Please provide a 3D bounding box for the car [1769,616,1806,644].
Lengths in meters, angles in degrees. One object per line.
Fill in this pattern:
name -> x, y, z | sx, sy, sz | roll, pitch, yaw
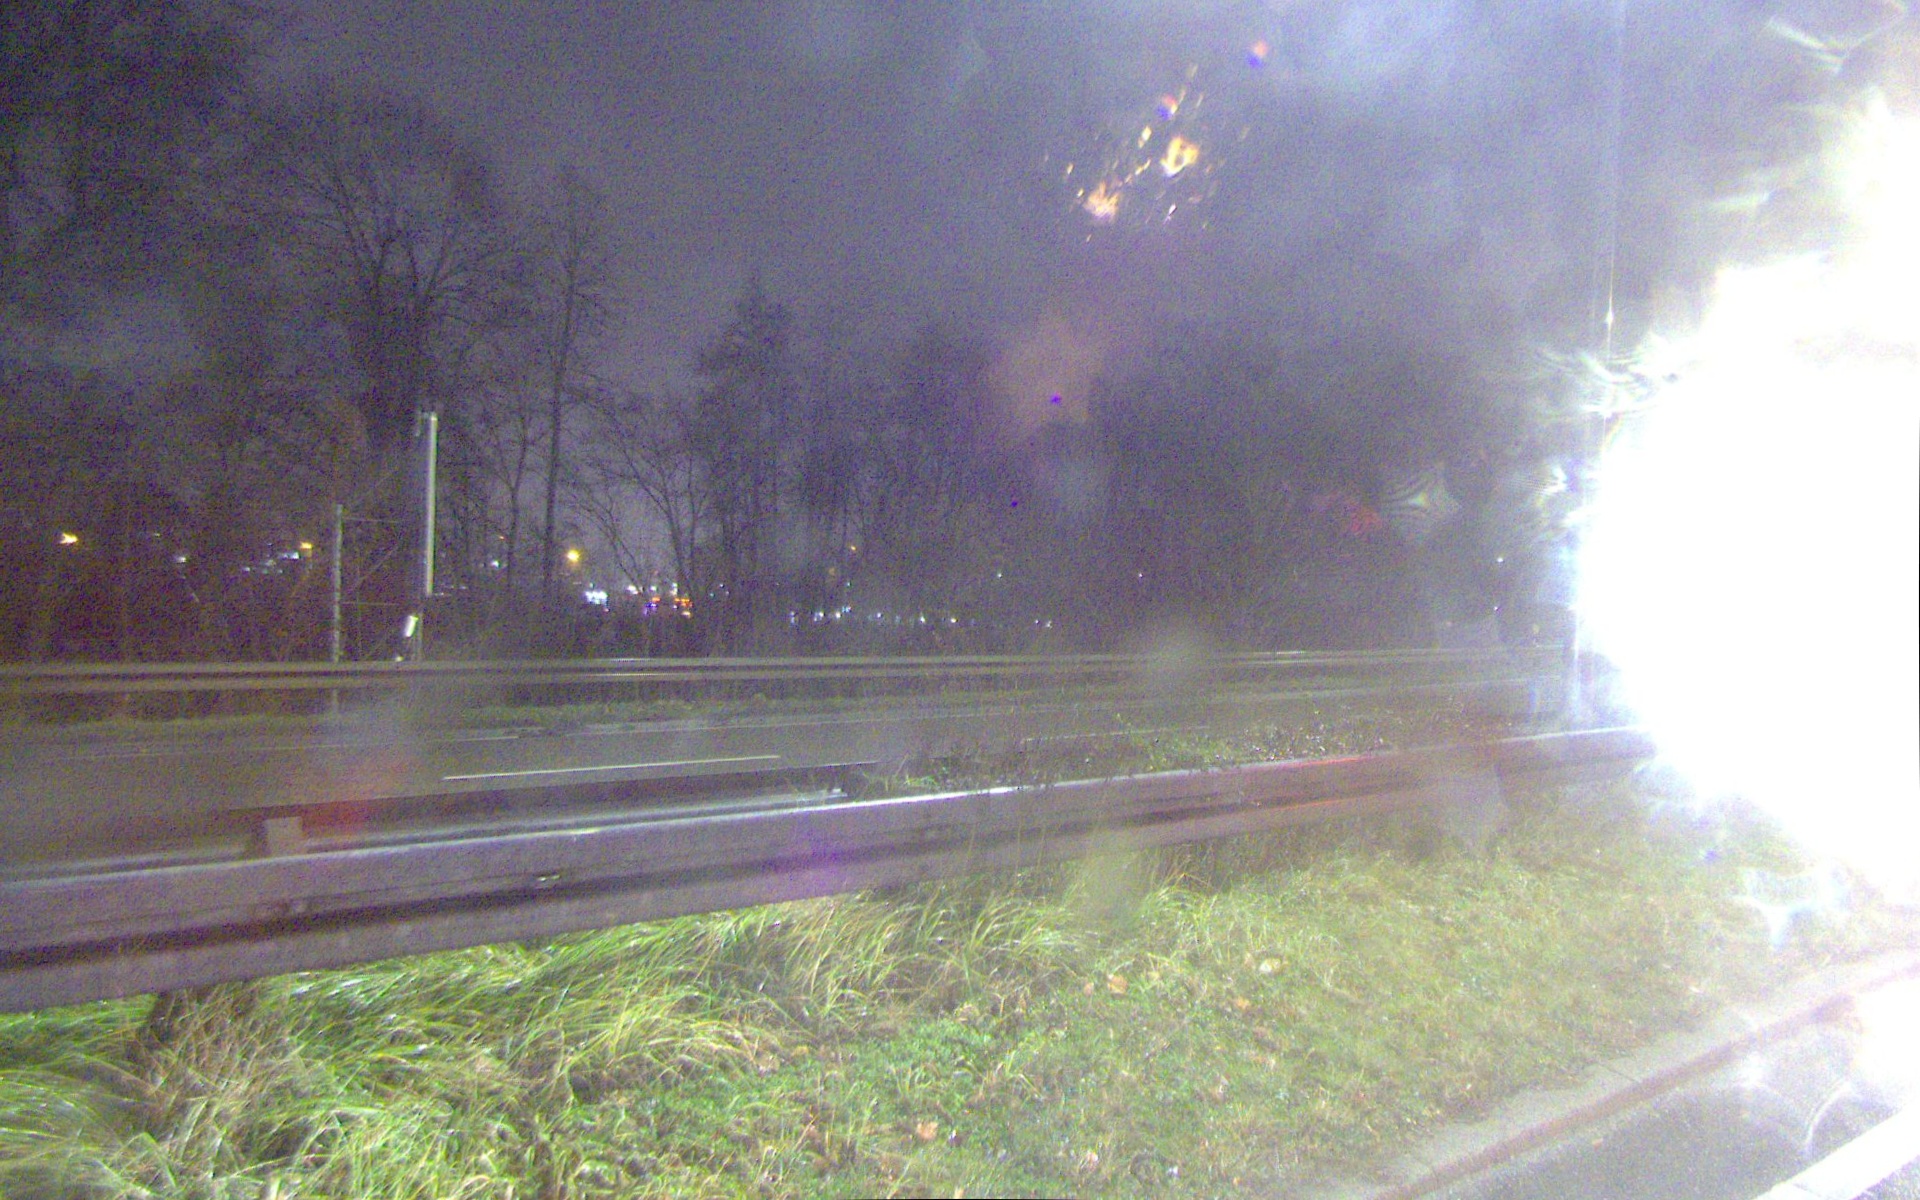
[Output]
car -> 54.705, 1.974, 66.455 | 1.736, 1.762, 3.984 | 2, 0, 38

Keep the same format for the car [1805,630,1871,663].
car -> 42.249, 2.217, 48.285 | 4.806, 1.528, 1.975 | 2, -2, -43

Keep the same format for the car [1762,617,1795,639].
car -> 64.997, 2.207, 79.835 | 1.742, 1.653, 4.235 | 1, 0, 36

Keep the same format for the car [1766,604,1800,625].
car -> 59.104, 1.050, 72.186 | 1.605, 1.387, 3.710 | 2, 0, 36
